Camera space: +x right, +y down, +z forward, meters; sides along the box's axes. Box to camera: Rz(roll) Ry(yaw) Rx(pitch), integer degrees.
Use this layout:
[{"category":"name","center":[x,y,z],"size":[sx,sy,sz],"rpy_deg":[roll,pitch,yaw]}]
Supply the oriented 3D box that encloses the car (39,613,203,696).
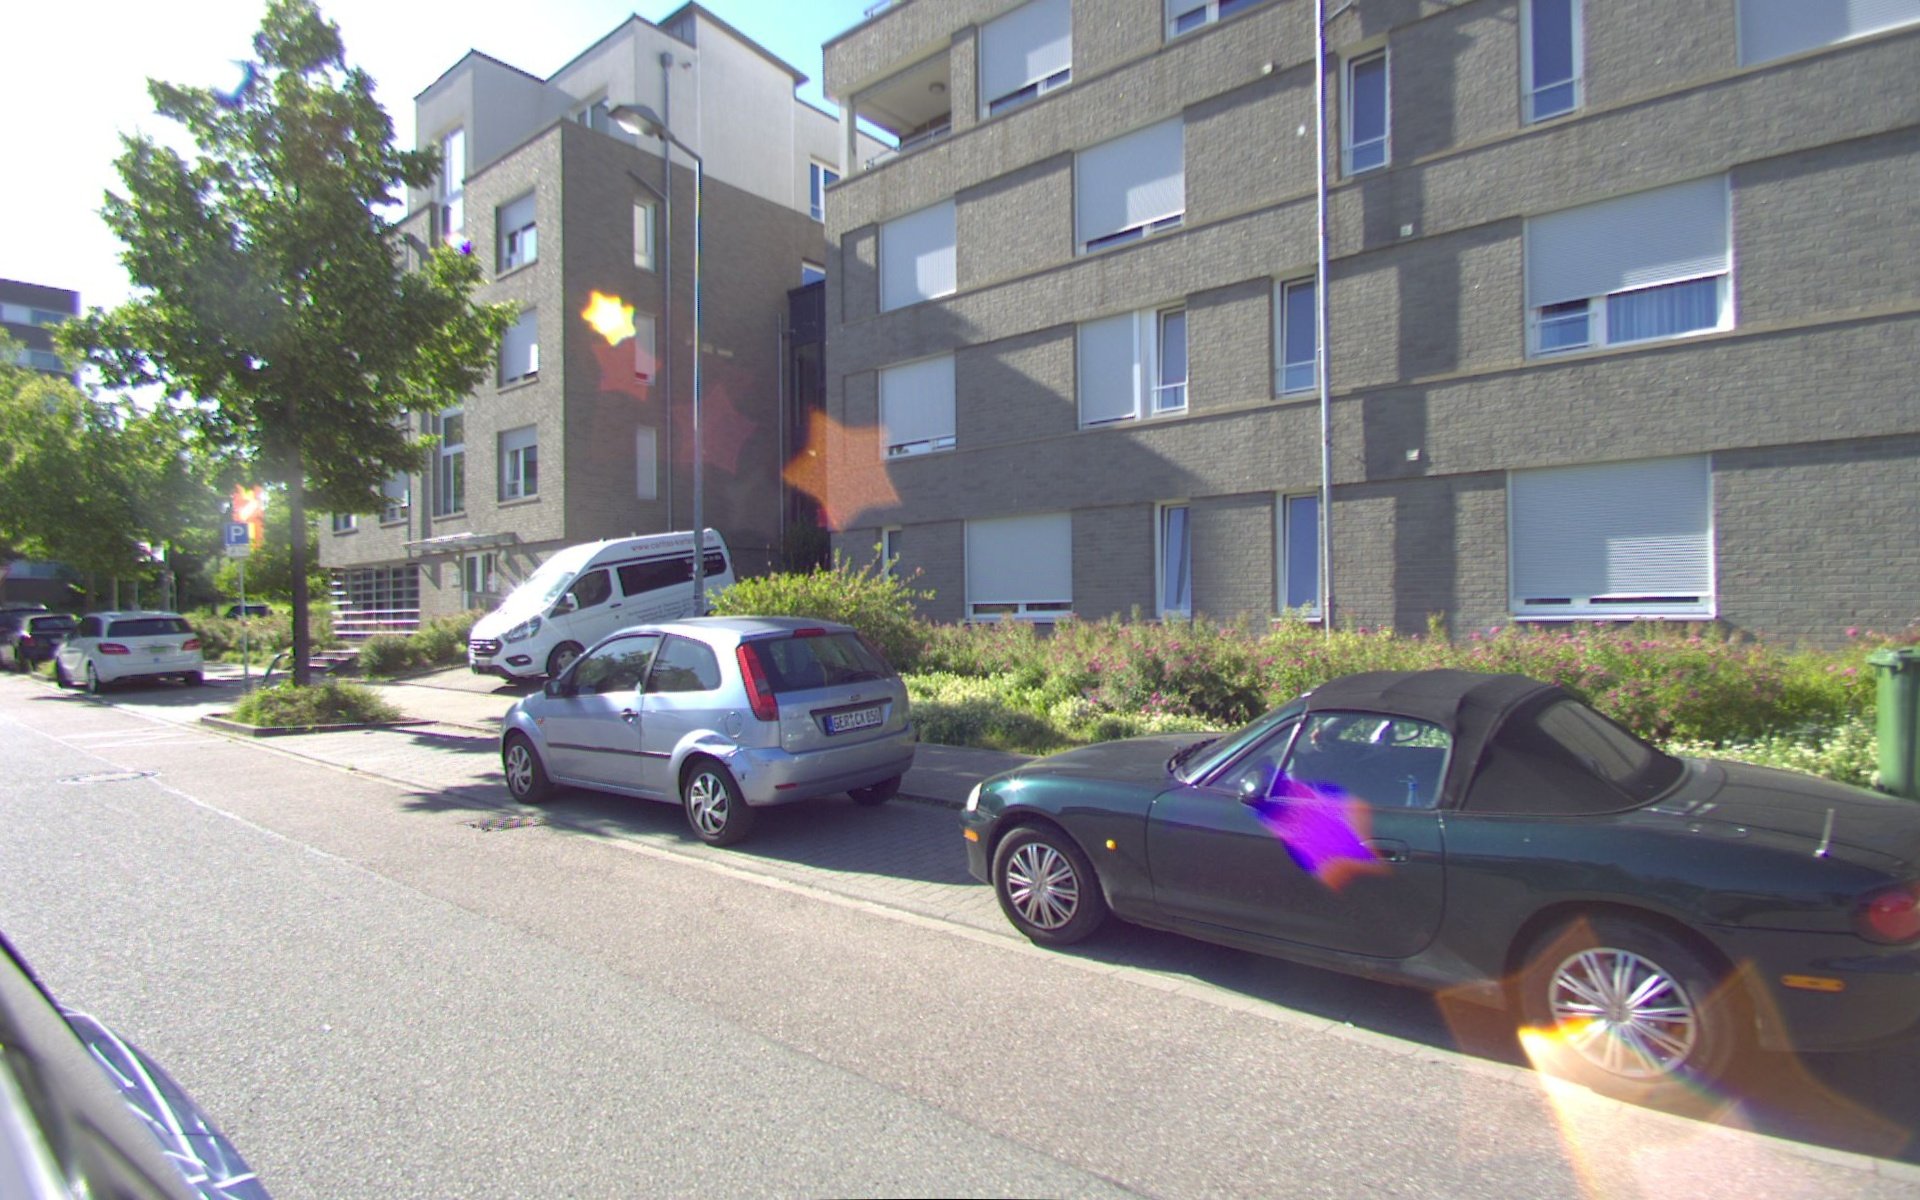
[{"category":"car","center":[-17.308,1.067,20.821],"size":[4.279,1.544,1.644],"rpy_deg":[-1,-1,37]}]
